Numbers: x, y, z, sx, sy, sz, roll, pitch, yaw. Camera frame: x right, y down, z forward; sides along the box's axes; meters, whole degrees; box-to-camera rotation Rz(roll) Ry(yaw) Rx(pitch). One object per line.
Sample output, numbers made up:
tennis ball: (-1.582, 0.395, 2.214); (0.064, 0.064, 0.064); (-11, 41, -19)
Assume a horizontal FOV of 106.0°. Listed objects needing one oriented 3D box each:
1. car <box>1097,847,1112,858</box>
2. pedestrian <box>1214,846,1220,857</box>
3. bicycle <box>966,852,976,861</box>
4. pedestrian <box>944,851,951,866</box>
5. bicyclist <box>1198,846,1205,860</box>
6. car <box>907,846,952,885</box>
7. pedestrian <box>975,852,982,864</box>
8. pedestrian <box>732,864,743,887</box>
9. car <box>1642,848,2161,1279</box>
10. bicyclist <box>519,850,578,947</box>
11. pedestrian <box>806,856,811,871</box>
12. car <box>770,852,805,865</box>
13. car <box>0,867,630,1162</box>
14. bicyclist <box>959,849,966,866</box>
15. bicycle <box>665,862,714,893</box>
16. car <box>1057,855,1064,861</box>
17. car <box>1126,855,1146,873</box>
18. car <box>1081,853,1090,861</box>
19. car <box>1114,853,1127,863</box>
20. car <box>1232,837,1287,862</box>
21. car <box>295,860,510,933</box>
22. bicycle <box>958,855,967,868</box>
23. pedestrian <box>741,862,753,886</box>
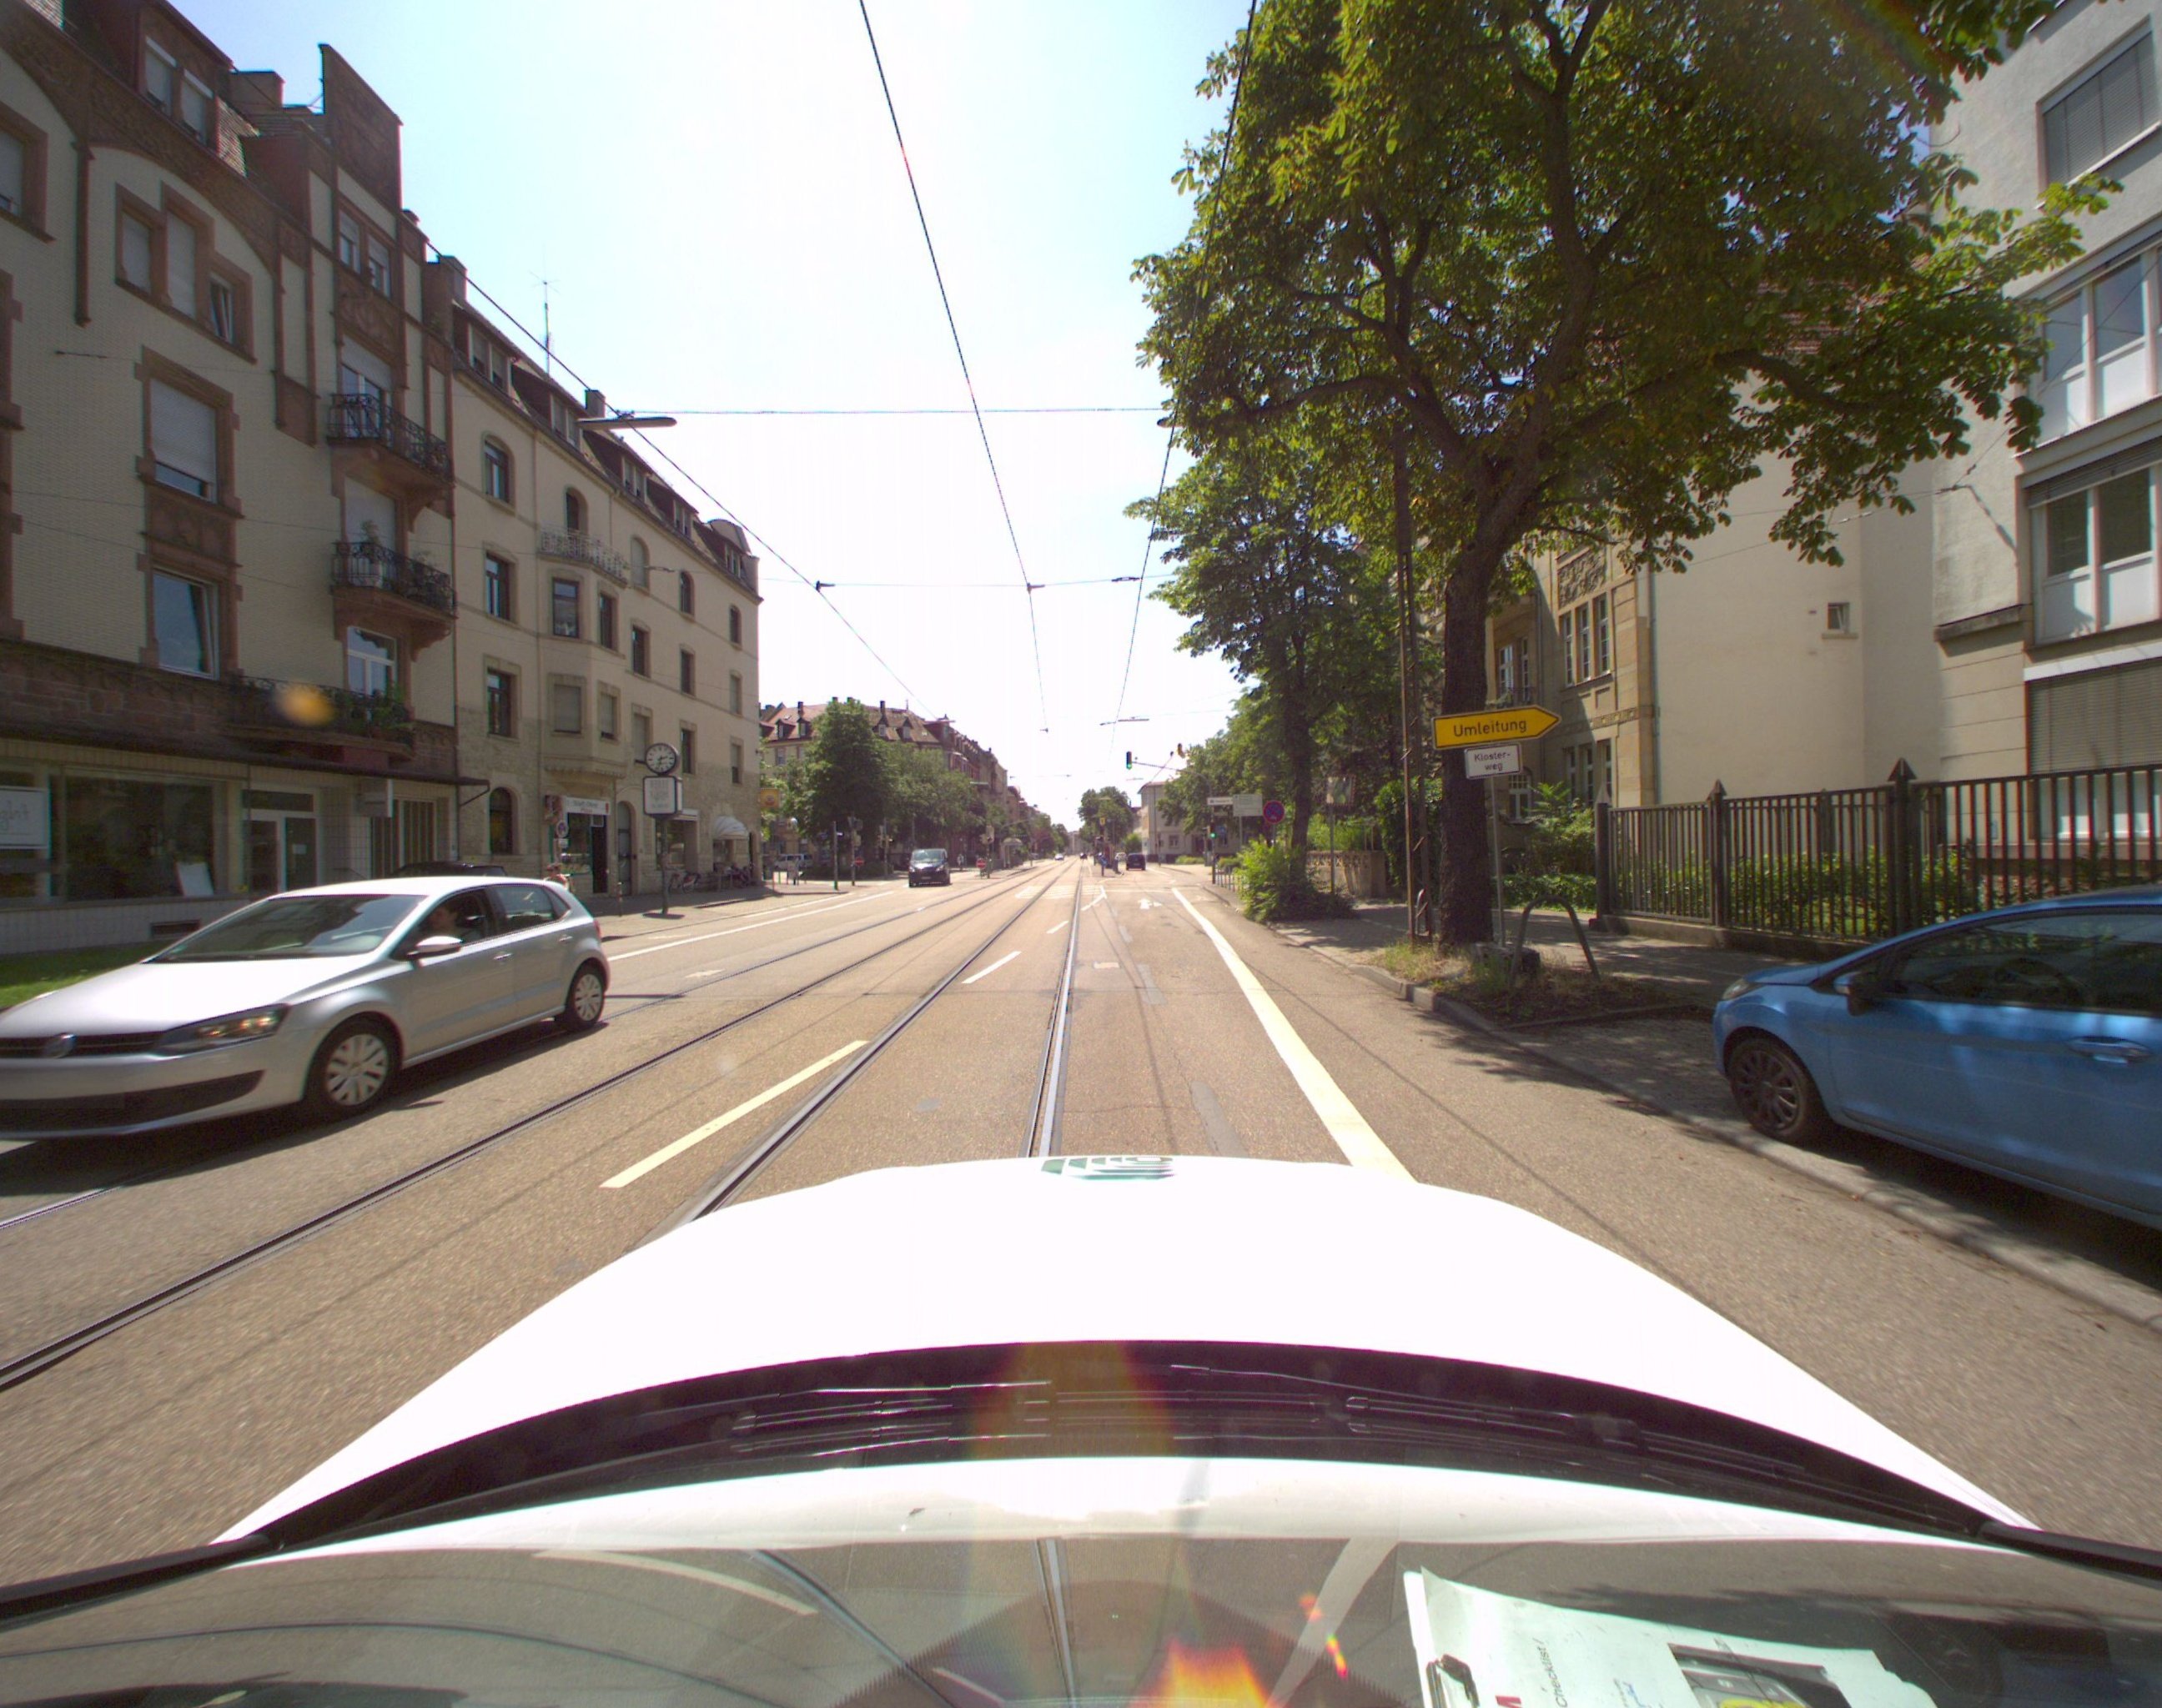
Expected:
car: (3.196, -0.152, 111.120); (1.522, 1.456, 3.358); (-2, 0, -5)
pedestrian: (13.020, -0.247, 78.046); (0.507, 1.092, 0.479); (-3, 1, 5)
bicycle: (-14.790, 0.354, 109.623); (0.360, 1.169, 1.529); (1, 1, 31)
pedestrian: (-14.153, 0.466, 86.463); (0.678, 1.605, 0.772); (0, -1, -4)
bicyclist: (14.159, -0.128, 95.581); (0.687, 1.646, 0.584); (-1, -1, 33)
car: (-8.147, 0.598, 44.116); (1.841, 1.938, 4.813); (-2, 0, -5)
pedestrian: (-13.476, 0.529, 107.265); (0.657, 1.615, 0.464); (0, 2, -43)
pedestrian: (-16.163, 1.020, 38.357); (0.354, 1.089, 0.405); (0, -1, -4)
car: (4.612, 0.732, 3.468); (1.678, 1.462, 4.000); (-2, 0, 1)
bicyclist: (-9.382, 0.767, 14.365); (0.608, 1.663, 0.579); (-1, 0, -1)
pedestrian: (-31.274, 1.091, 93.343); (0.508, 1.768, 0.525); (0, -1, -23)
car: (-33.410, 0.528, 92.691); (3.696, 1.442, 1.550); (0, 0, 24)
car: (-5.258, 0.860, 6.075); (1.704, 1.412, 3.822); (-2, 0, -2)
bicyclist: (-11.389, 0.323, 78.200); (0.606, 1.574, 0.585); (0, -1, -1)
bicycle: (-16.131, 0.955, 33.617); (0.450, 1.225, 2.090); (0, 0, 19)
car: (-4.347, 0.878, 172.533); (1.536, 1.339, 3.716); (0, 0, -2)
car: (4.752, 0.865, 70.578); (1.520, 1.444, 3.364); (-2, 0, 0)
car: (1.092, 0.690, 190.231); (2.040, 2.014, 4.606); (0, 0, 0)
car: (5.913, 0.604, 122.344); (1.742, 1.472, 3.936); (-4, 0, -1)
car: (19.296, -0.488, 88.414); (2.010, 2.590, 5.782); (-2, 0, -40)
car: (-14.320, 0.865, 17.300); (3.339, 1.471, 1.531); (0, 0, 3)
bicycle: (-11.380, 0.709, 78.158); (0.626, 1.157, 1.977); (0, 0, -1)
pedestrian: (-16.240, 0.952, 39.601); (0.404, 1.148, 0.405); (0, -1, -4)
